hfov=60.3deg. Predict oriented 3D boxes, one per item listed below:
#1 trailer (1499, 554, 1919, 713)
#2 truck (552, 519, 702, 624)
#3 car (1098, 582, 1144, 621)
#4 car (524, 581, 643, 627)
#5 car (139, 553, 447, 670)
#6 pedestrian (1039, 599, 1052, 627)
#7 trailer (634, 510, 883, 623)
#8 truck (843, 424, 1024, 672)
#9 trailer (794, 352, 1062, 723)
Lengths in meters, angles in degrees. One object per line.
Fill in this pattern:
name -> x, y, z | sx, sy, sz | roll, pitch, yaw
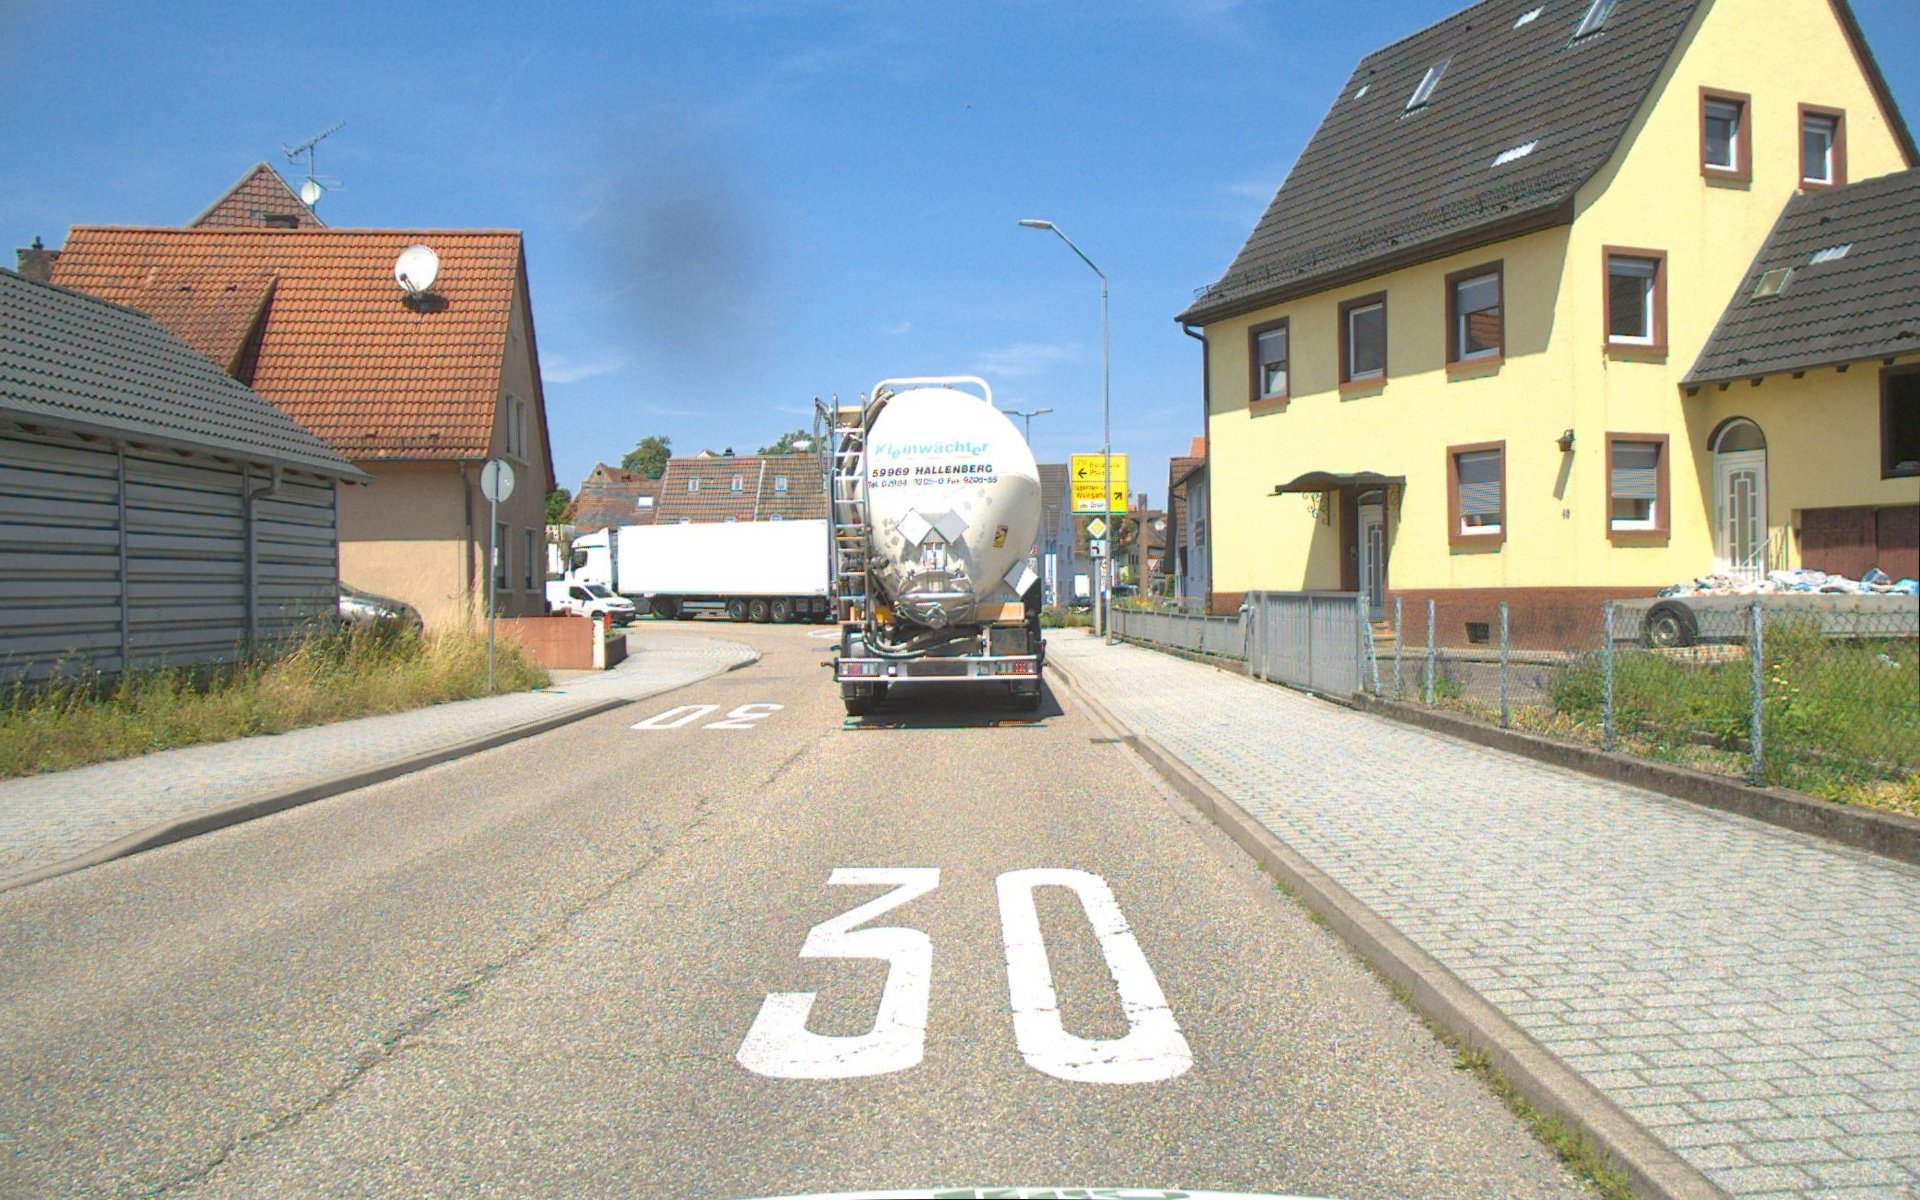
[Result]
trailer -> 8.755, 0.342, 18.607 | 5.287, 1.573, 2.118 | 0, -1, -29
truck -> -14.759, -1.211, 73.329 | 5.795, 4.478, 3.114 | -1, -1, 22
car -> 8.559, 0.101, 87.725 | 1.951, 1.946, 4.327 | 0, -2, 12
car -> -15.221, 0.144, 66.873 | 4.414, 1.816, 1.880 | 0, 1, 22
car -> -10.443, 0.177, 26.097 | 4.039, 1.666, 1.866 | -2, 0, 2
pedestrian -> 6.375, 0.981, 123.085 | 0.753, 2.049, 0.977 | 0, 0, 21
trailer -> -8.627, -1.235, 69.029 | 12.272, 4.352, 3.123 | -1, -1, 42
truck -> -0.416, -0.846, 29.775 | 2.926, 4.034, 5.579 | 0, 0, 0
trailer -> -0.418, -0.674, 23.766 | 2.892, 4.017, 11.616 | 0, 0, -1
